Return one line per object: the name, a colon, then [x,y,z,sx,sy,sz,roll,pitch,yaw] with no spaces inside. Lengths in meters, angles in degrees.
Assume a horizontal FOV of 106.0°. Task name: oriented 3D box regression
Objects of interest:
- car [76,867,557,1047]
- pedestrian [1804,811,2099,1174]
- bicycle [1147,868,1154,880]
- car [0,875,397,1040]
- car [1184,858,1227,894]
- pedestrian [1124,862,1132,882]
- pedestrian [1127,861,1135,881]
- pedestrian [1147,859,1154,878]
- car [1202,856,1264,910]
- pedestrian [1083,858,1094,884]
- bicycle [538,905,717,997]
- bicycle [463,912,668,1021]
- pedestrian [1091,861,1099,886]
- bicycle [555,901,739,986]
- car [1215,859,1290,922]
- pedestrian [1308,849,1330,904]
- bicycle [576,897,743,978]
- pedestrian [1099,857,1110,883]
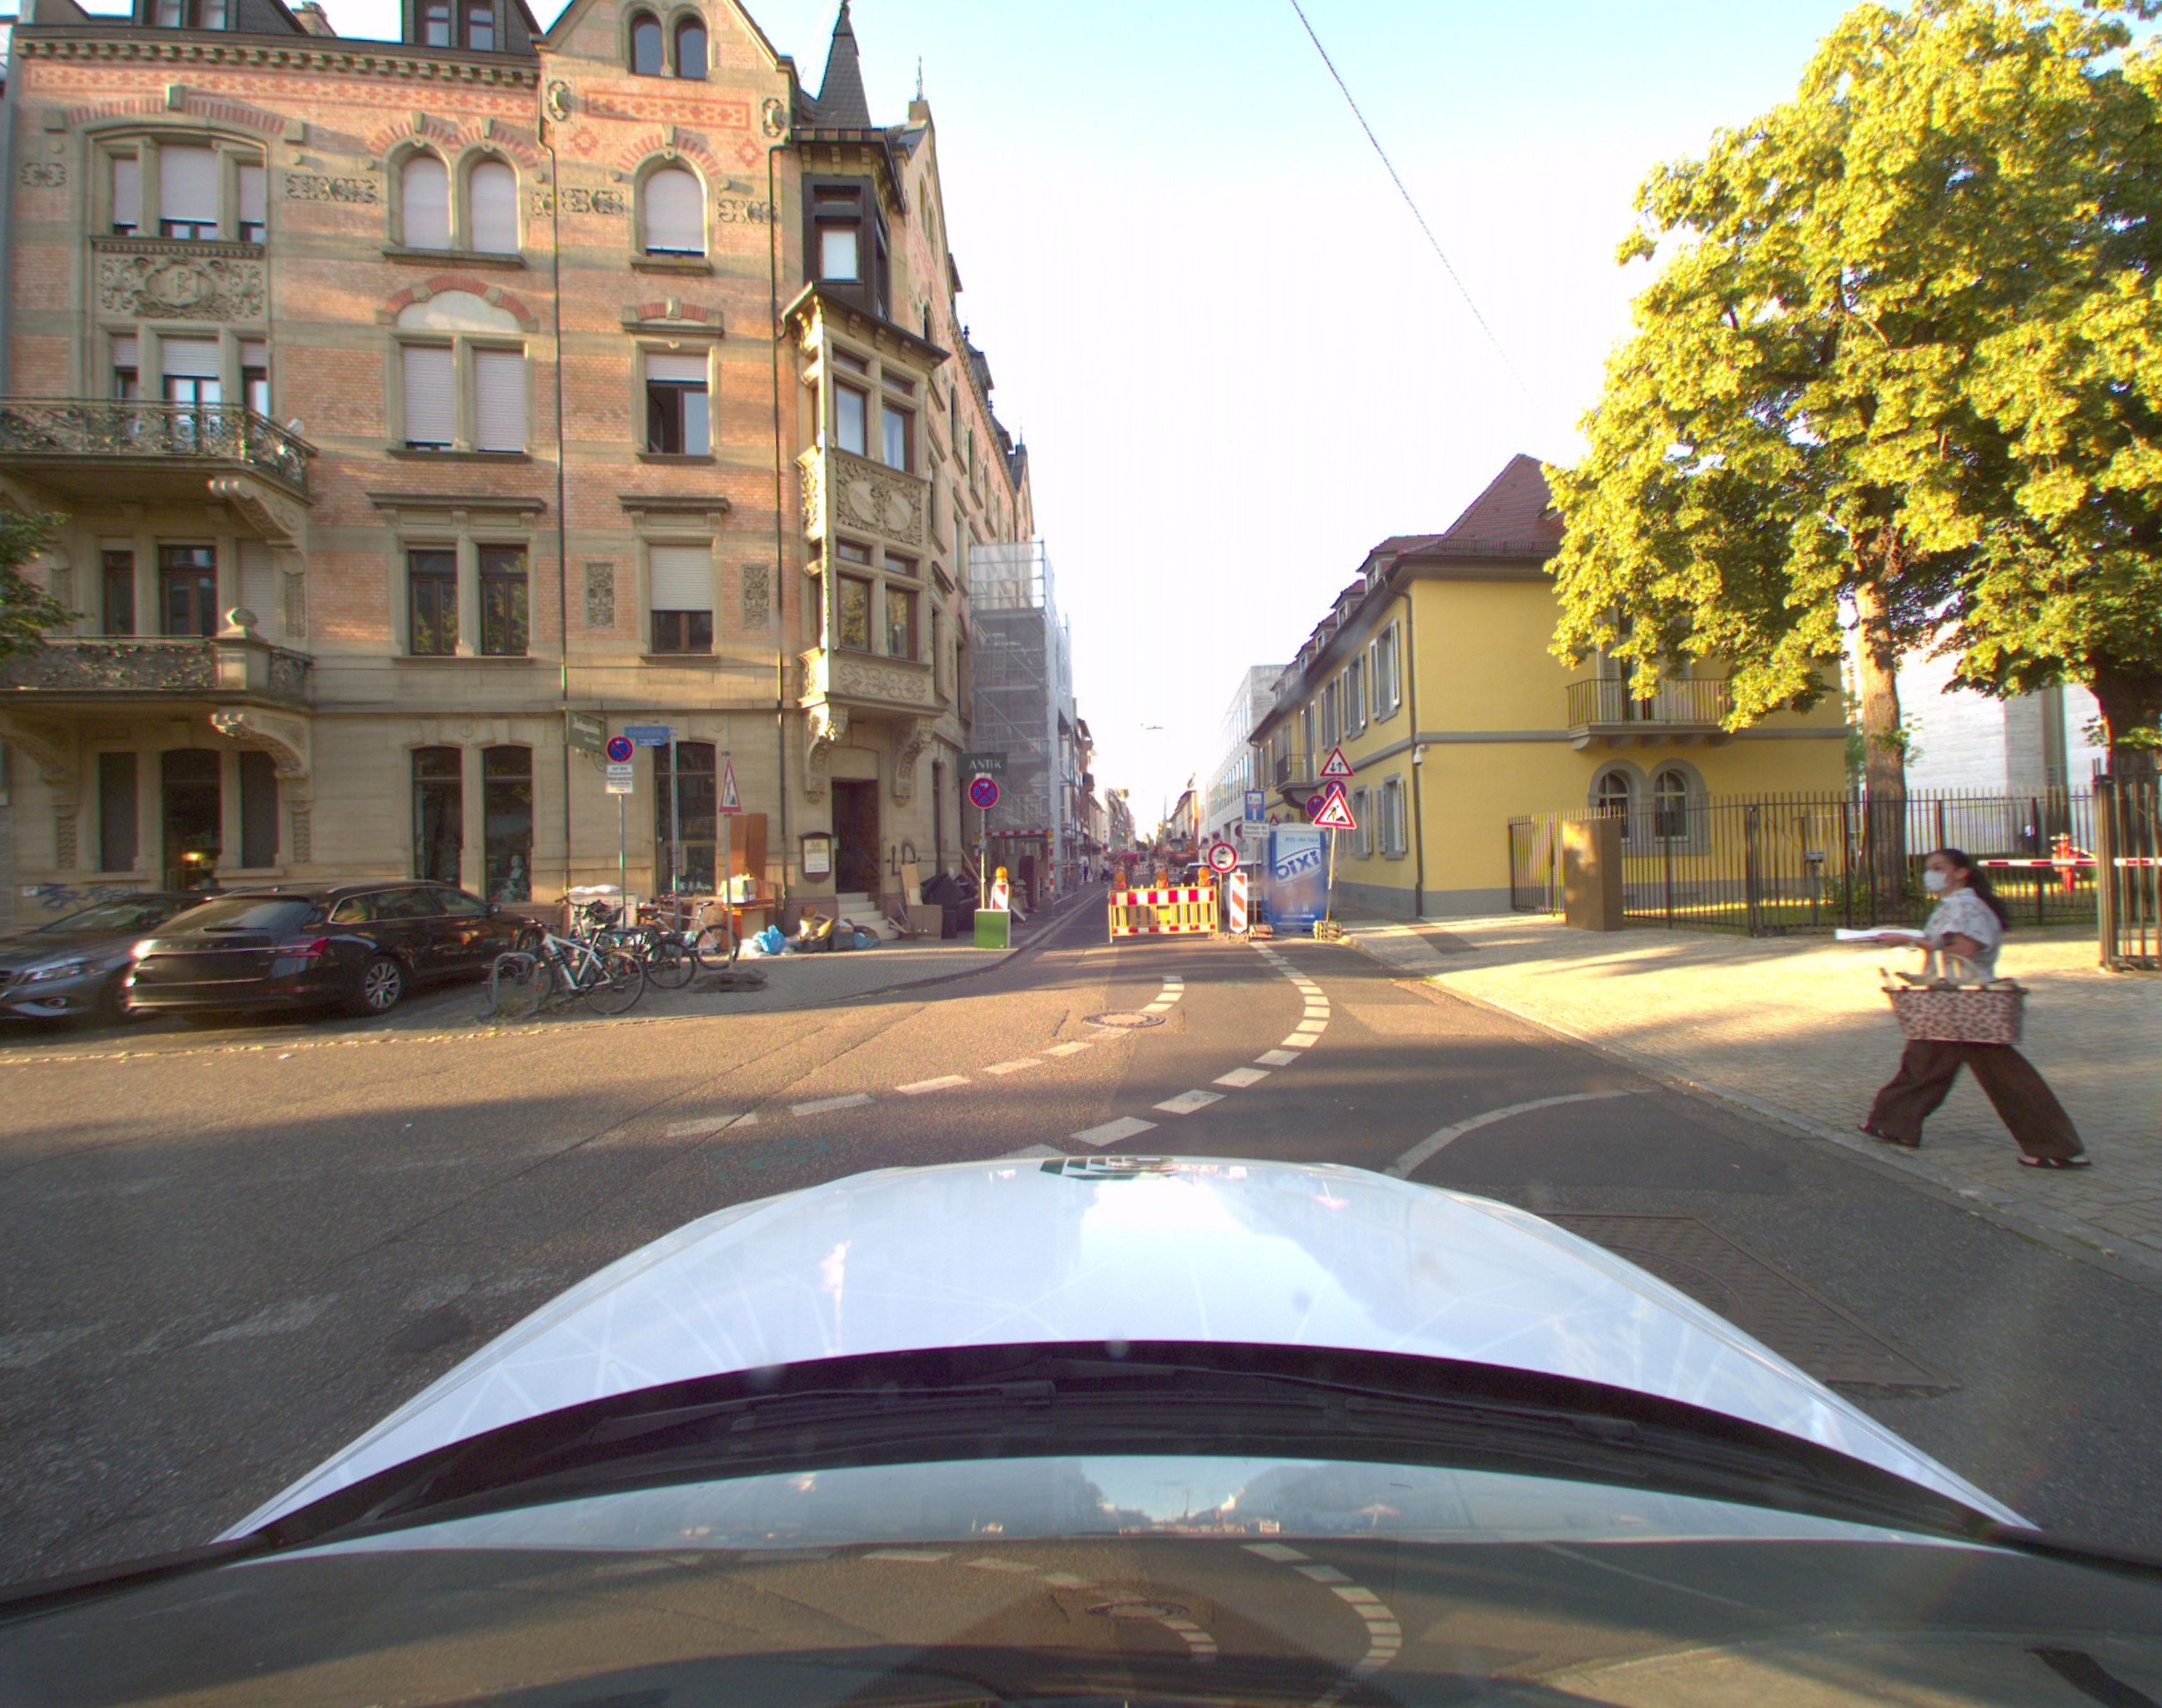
car: [-8.818,1.025,10.134,1.902,1.511,4.533,-2,1,-5]
pedestrian: [4.488,0.643,4.290,0.948,1.659,0.643,-3,-1,42]
bicycle: [5.384,1.562,62.716,0.502,0.884,1.478,-2,0,5]
car: [-11.400,1.114,10.317,1.859,1.479,4.533,-2,0,-5]
car: [5.687,0.980,37.478,1.709,1.520,3.226,-2,0,5]
pedestrian: [3.467,1.332,60.033,0.502,1.461,0.513,-2,-1,5]
pedestrian: [3.857,1.307,62.533,0.501,1.461,0.514,-2,-1,11]
pedestrian: [5.371,1.088,62.627,0.502,1.461,0.513,-2,-1,5]
car: [4.723,0.848,25.763,1.533,1.520,3.984,-2,0,5]
pedestrian: [0.529,1.164,55.998,0.673,1.733,0.700,-1,-1,1]
bicycle: [-5.630,1.190,10.194,1.824,1.014,0.638,-1,-1,-7]
bicycle: [-5.607,1.211,8.930,1.822,1.047,0.571,-1,0,-4]
pedestrian: [0.903,1.265,52.557,0.339,1.566,0.423,-2,-1,26]
bicycle: [-5.876,1.194,11.126,2.101,1.014,0.638,-2,-1,-7]
car: [4.384,0.890,21.162,1.533,1.520,3.226,0,0,5]
pedestrian: [7.099,0.657,24.311,0.464,1.595,0.674,-2,-1,7]
bicycle: [-6.100,1.197,11.850,2.101,1.040,0.464,-2,-1,-7]
pedestrian: [1.579,1.064,54.921,0.508,1.764,0.507,-1,-1,-37]
